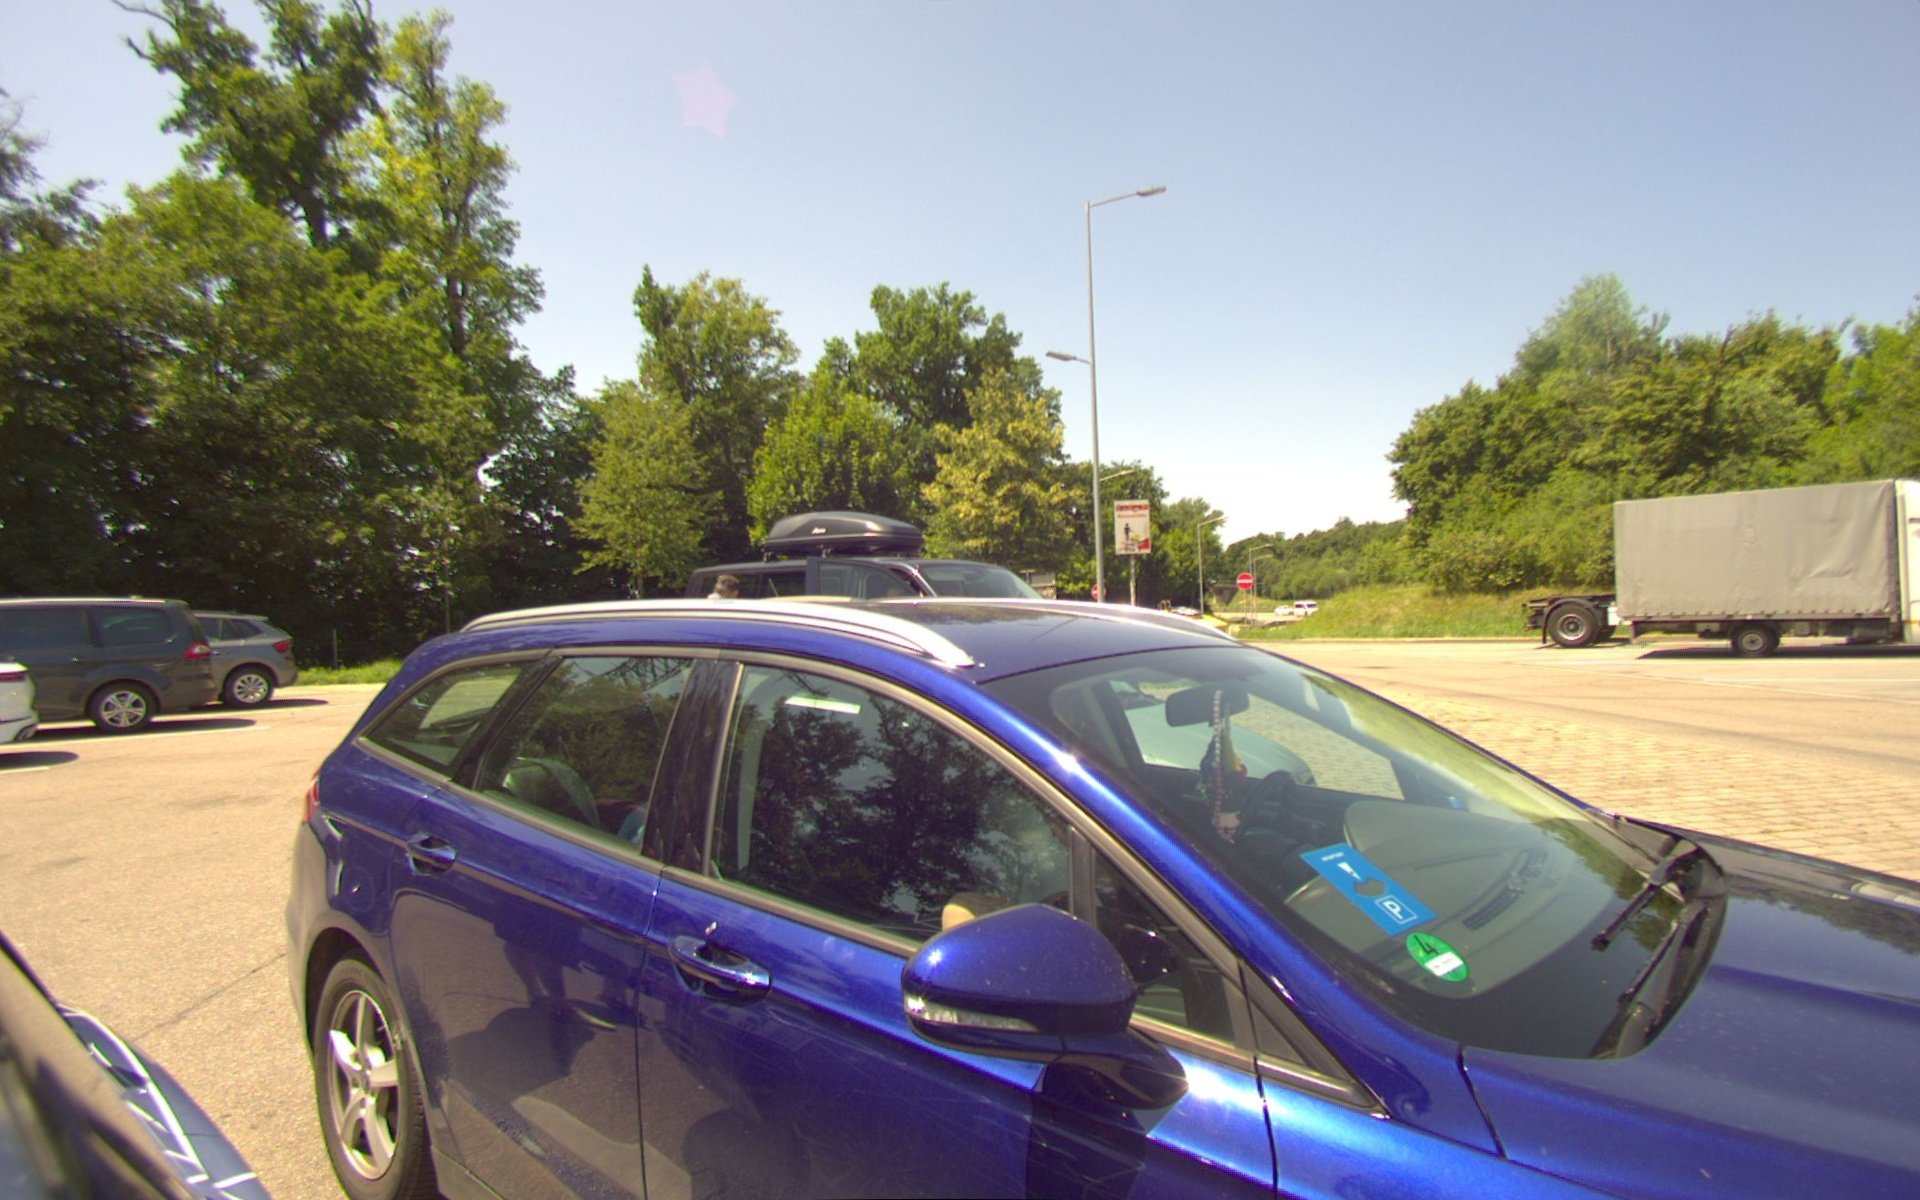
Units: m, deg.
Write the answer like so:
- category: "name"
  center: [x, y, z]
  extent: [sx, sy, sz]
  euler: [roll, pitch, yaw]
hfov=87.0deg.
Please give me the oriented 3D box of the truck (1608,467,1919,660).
- category: "truck"
  center: [16.774, -0.649, 19.007]
  extent: [7.274, 3.269, 2.678]
  euler: [-4, -1, 42]

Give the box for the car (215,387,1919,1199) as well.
- category: "car"
  center: [0.226, 0.632, 2.069]
  extent: [4.569, 1.482, 1.735]
  euler: [-3, 0, 40]

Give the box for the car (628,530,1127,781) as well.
- category: "car"
  center: [-0.900, 0.496, 9.654]
  extent: [4.558, 1.912, 1.740]
  euler: [-3, 0, 32]

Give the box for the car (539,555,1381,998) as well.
- category: "car"
  center: [-0.329, 0.667, 5.606]
  extent: [4.569, 1.517, 1.735]
  euler: [-3, 0, 40]

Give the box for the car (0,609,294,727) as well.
- category: "car"
  center: [-12.630, 0.967, 15.659]
  extent: [3.767, 1.572, 1.654]
  euler: [-1, 0, -38]

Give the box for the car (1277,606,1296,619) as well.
- category: "car"
  center: [53.655, 2.106, 166.282]
  extent: [1.974, 2.029, 3.995]
  euler: [-1, 0, 4]

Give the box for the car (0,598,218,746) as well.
- category: "car"
  center: [-11.638, 0.863, 12.652]
  extent: [3.767, 1.708, 1.654]
  euler: [-1, 0, -38]

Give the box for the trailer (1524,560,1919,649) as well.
- category: "trailer"
  center: [17.698, 0.156, 23.104]
  extent: [8.098, 1.638, 2.187]
  euler: [-4, -1, 41]

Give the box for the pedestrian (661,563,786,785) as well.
- category: "pedestrian"
  center: [-1.980, 0.593, 8.547]
  extent: [0.748, 1.767, 0.782]
  euler: [-1, 0, 14]

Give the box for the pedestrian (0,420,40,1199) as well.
- category: "pedestrian"
  center: [-2.735, 0.519, 2.238]
  extent: [0.905, 1.919, 0.816]
  euler: [-1, 0, -33]
